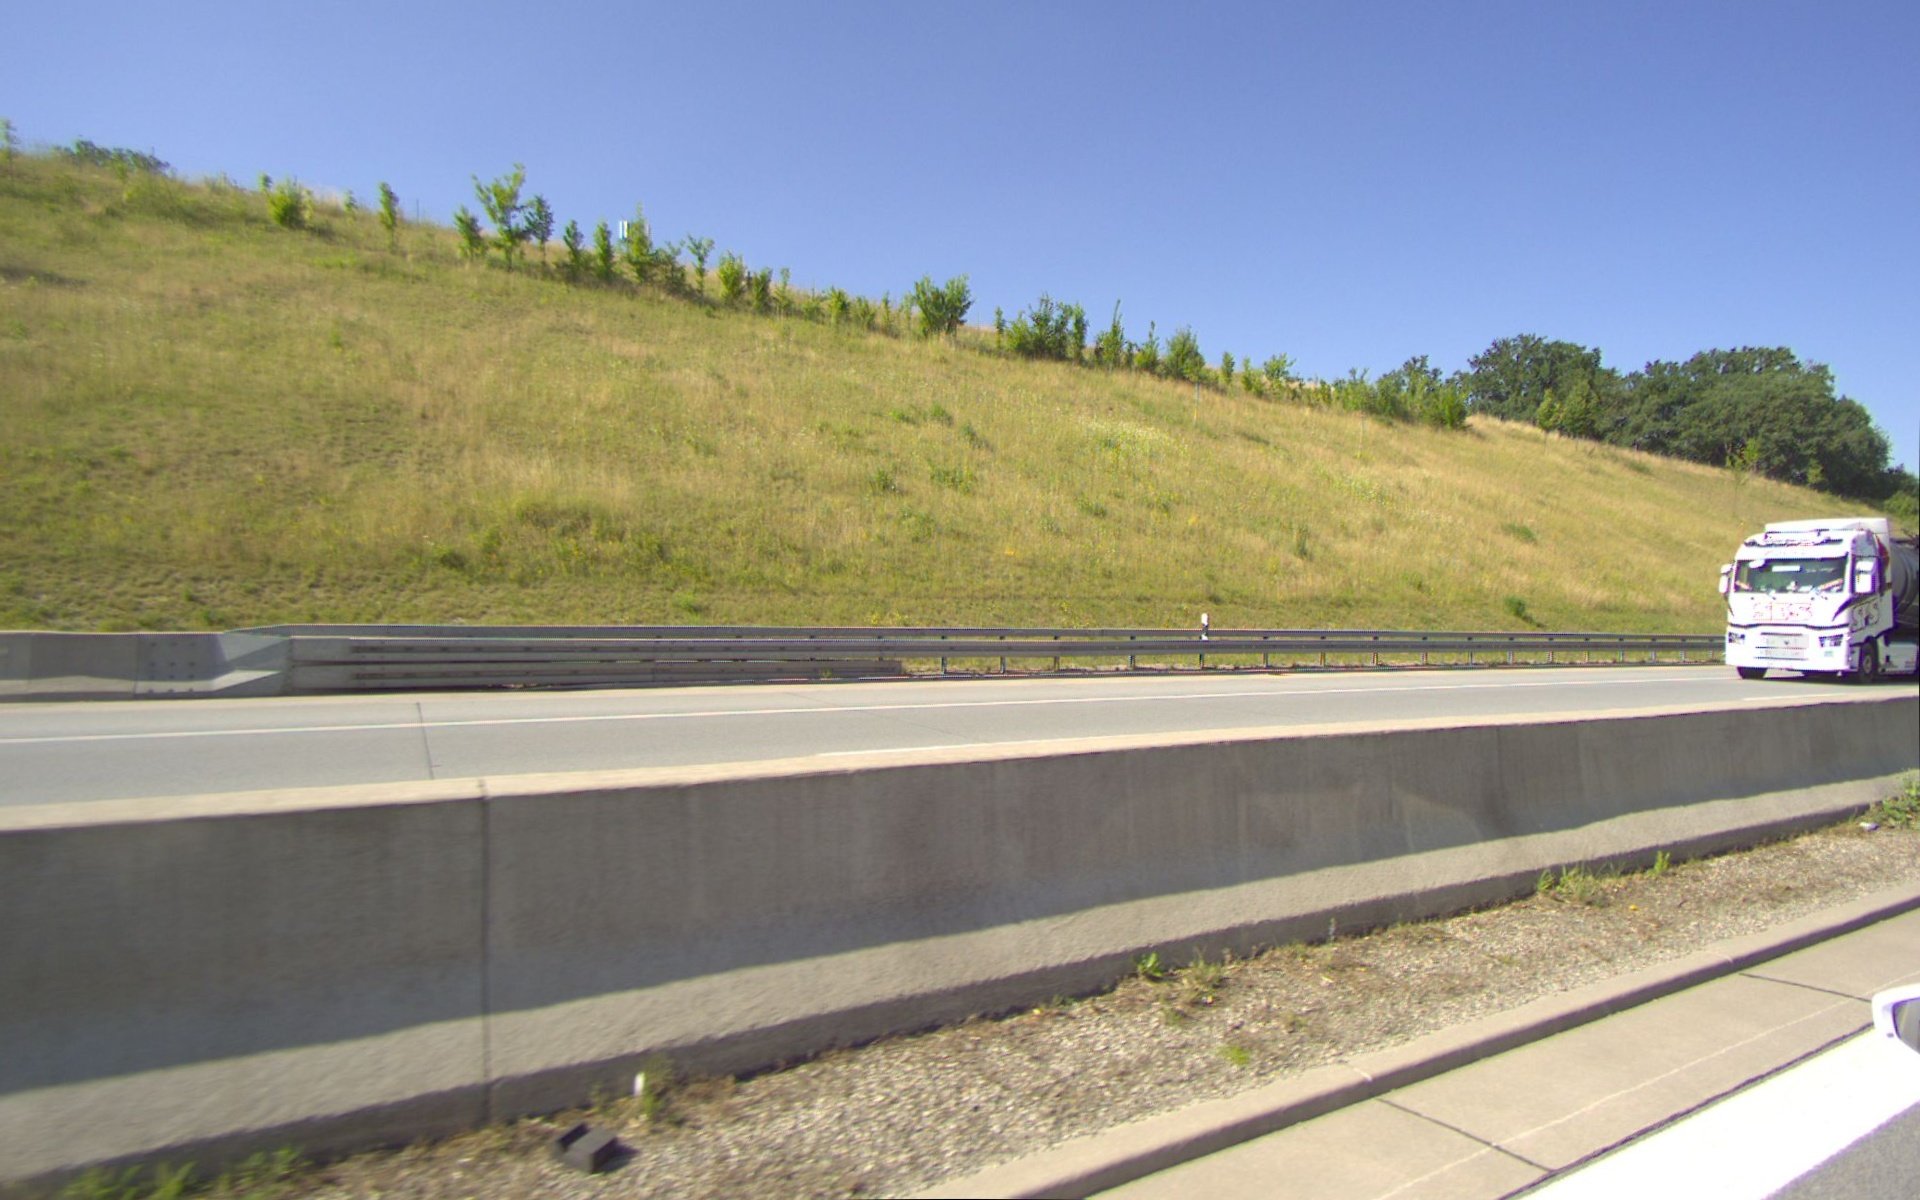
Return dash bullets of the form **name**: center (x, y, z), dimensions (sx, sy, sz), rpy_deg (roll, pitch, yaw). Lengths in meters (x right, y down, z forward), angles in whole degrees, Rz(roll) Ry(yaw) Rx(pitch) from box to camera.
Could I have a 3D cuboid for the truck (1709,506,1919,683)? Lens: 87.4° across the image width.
- **truck**: center (24.619, 0.034, 27.083), dimensions (12.309, 3.994, 2.741), rpy_deg (2, 0, -32)
